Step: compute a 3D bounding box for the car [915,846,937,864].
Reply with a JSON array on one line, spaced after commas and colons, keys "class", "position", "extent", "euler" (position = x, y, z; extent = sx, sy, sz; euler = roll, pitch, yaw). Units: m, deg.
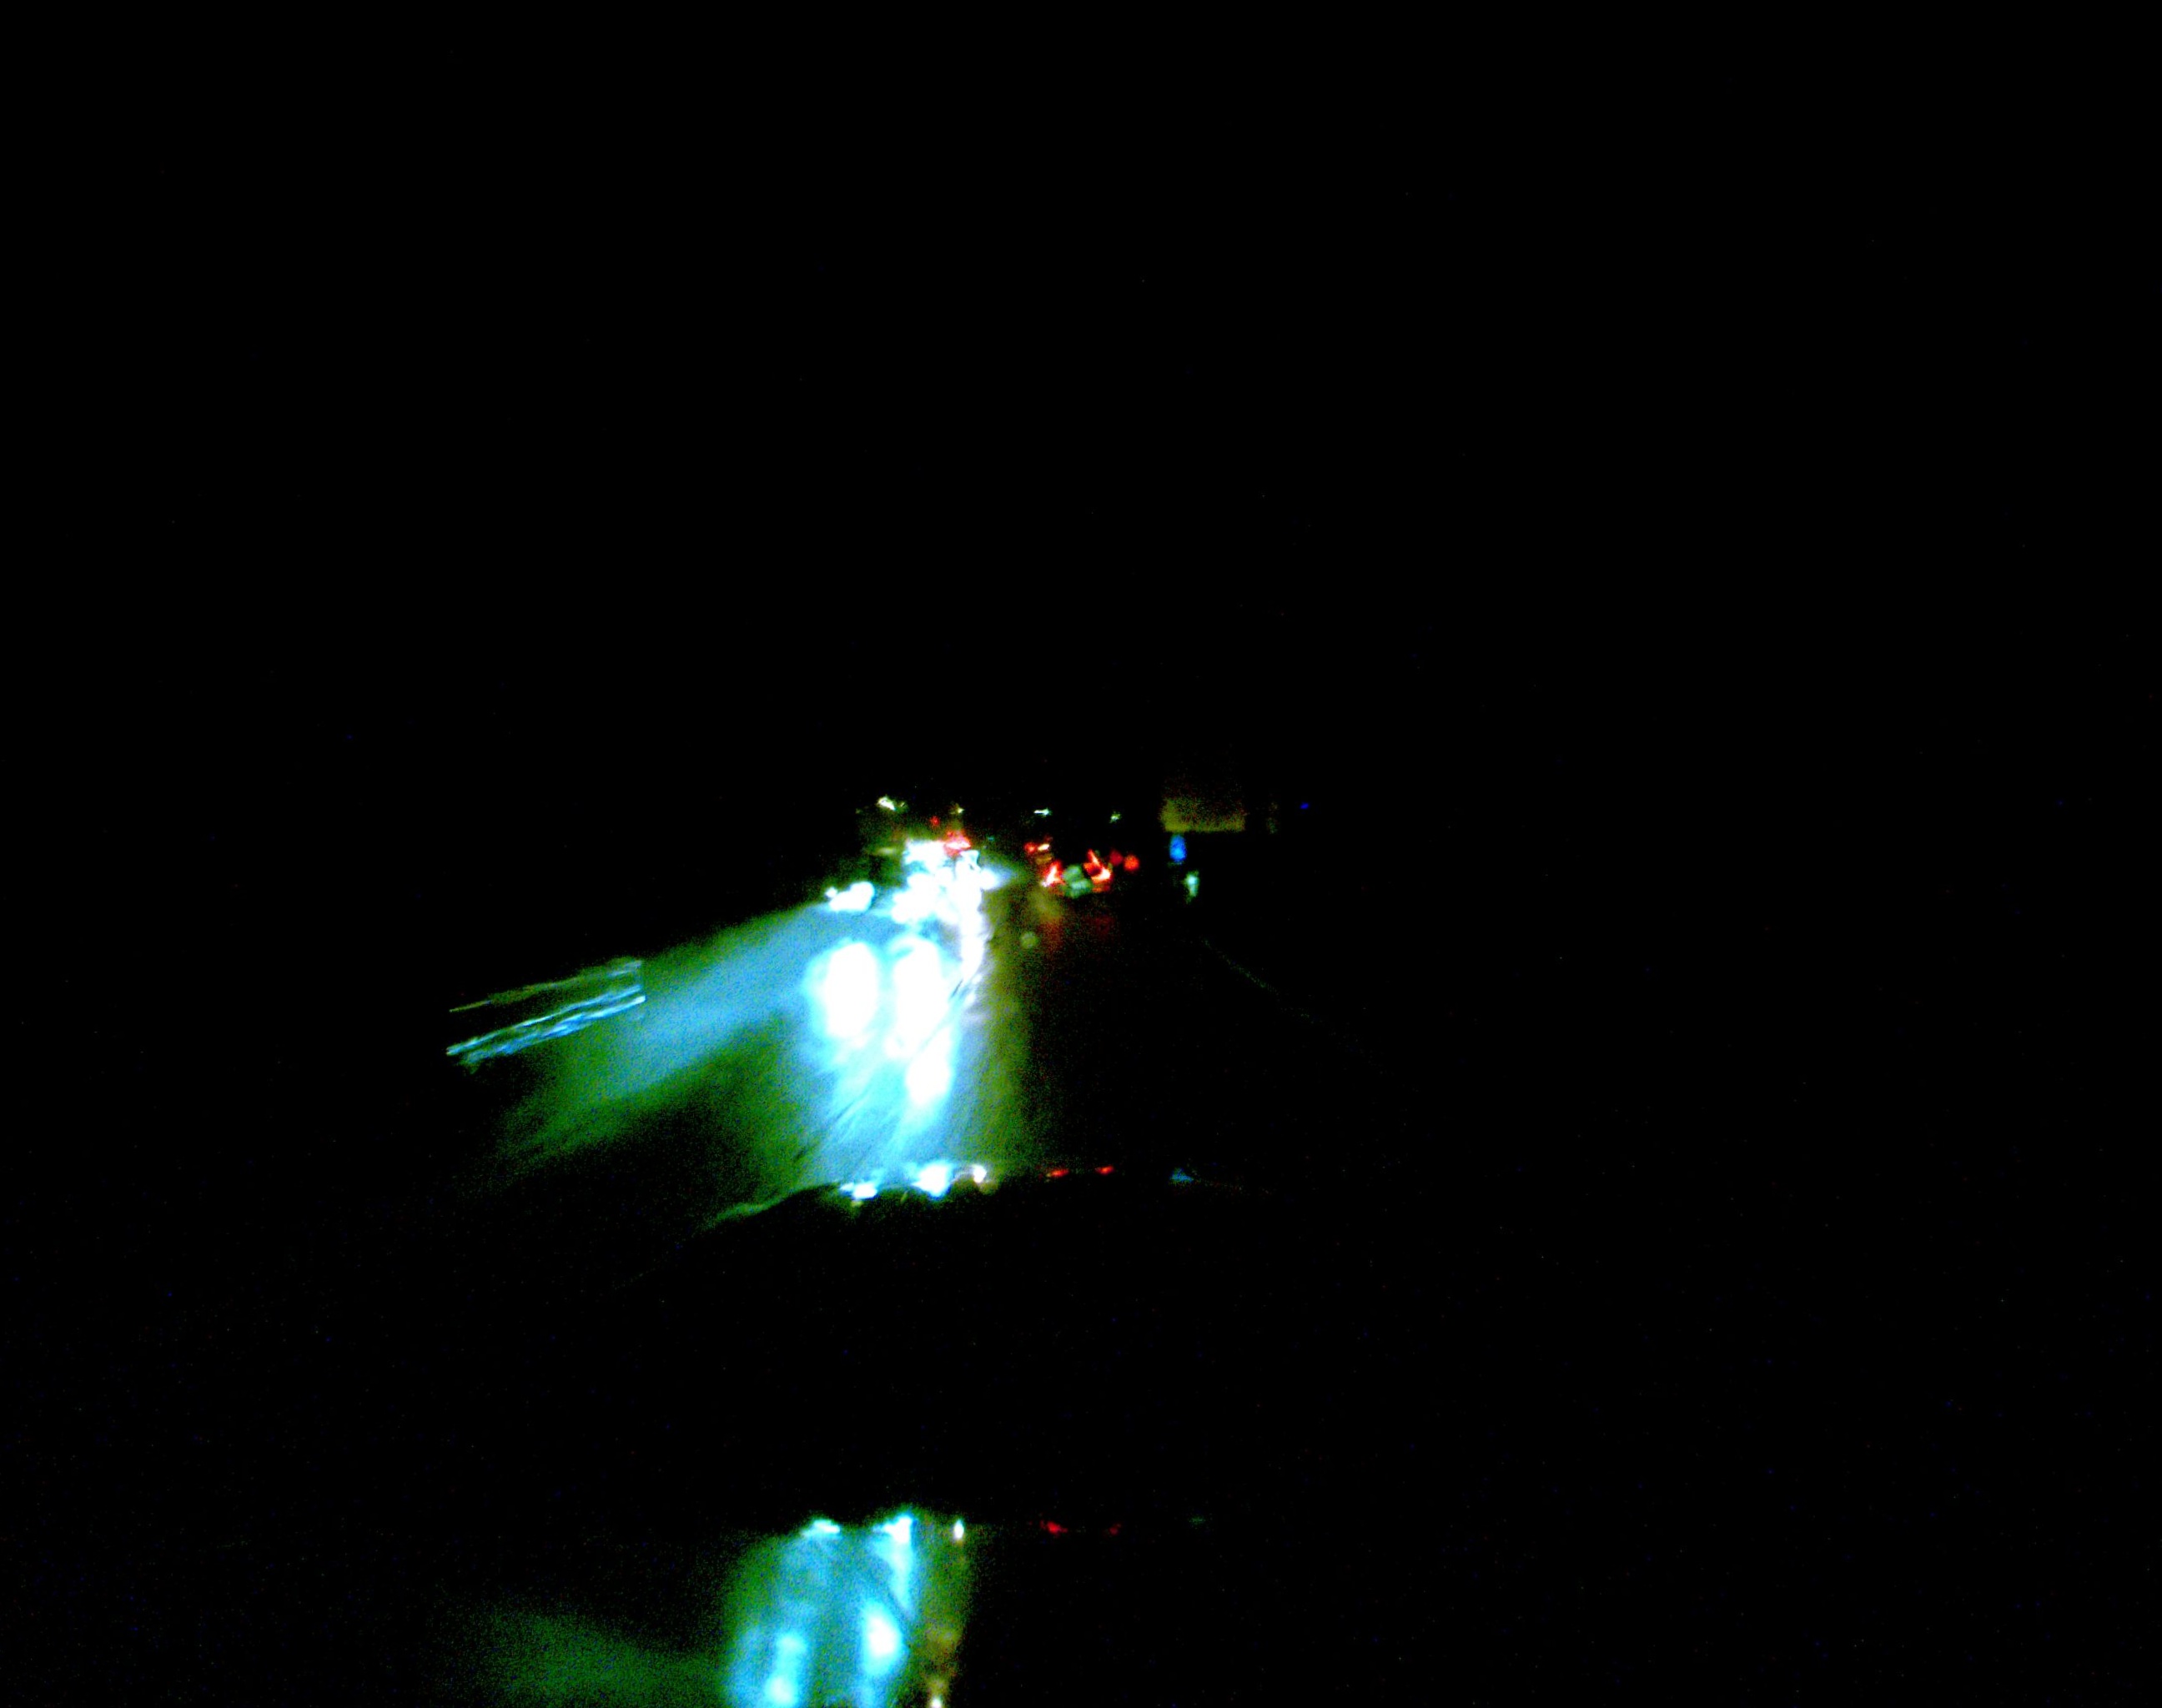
[{"class": "car", "position": [-15.801, 0.099, 82.869], "extent": [1.863, 1.747, 4.936], "euler": [-1, 0, -16]}]

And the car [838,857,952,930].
[{"class": "car", "position": [-3.959, 0.780, 18.018], "extent": [1.767, 1.389, 4.108], "euler": [-1, 0, -3]}]

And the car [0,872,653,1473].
[{"class": "car", "position": [-3.650, 0.860, 3.006], "extent": [1.765, 1.483, 4.381], "euler": [-1, 0, 1]}]

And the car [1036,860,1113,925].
[{"class": "car", "position": [-0.101, 1.014, 23.652], "extent": [1.986, 1.628, 4.985], "euler": [-1, 0, 1]}]

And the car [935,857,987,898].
[{"class": "car", "position": [-4.423, 0.832, 30.251], "extent": [1.770, 1.389, 4.221], "euler": [-1, 0, -8]}]
